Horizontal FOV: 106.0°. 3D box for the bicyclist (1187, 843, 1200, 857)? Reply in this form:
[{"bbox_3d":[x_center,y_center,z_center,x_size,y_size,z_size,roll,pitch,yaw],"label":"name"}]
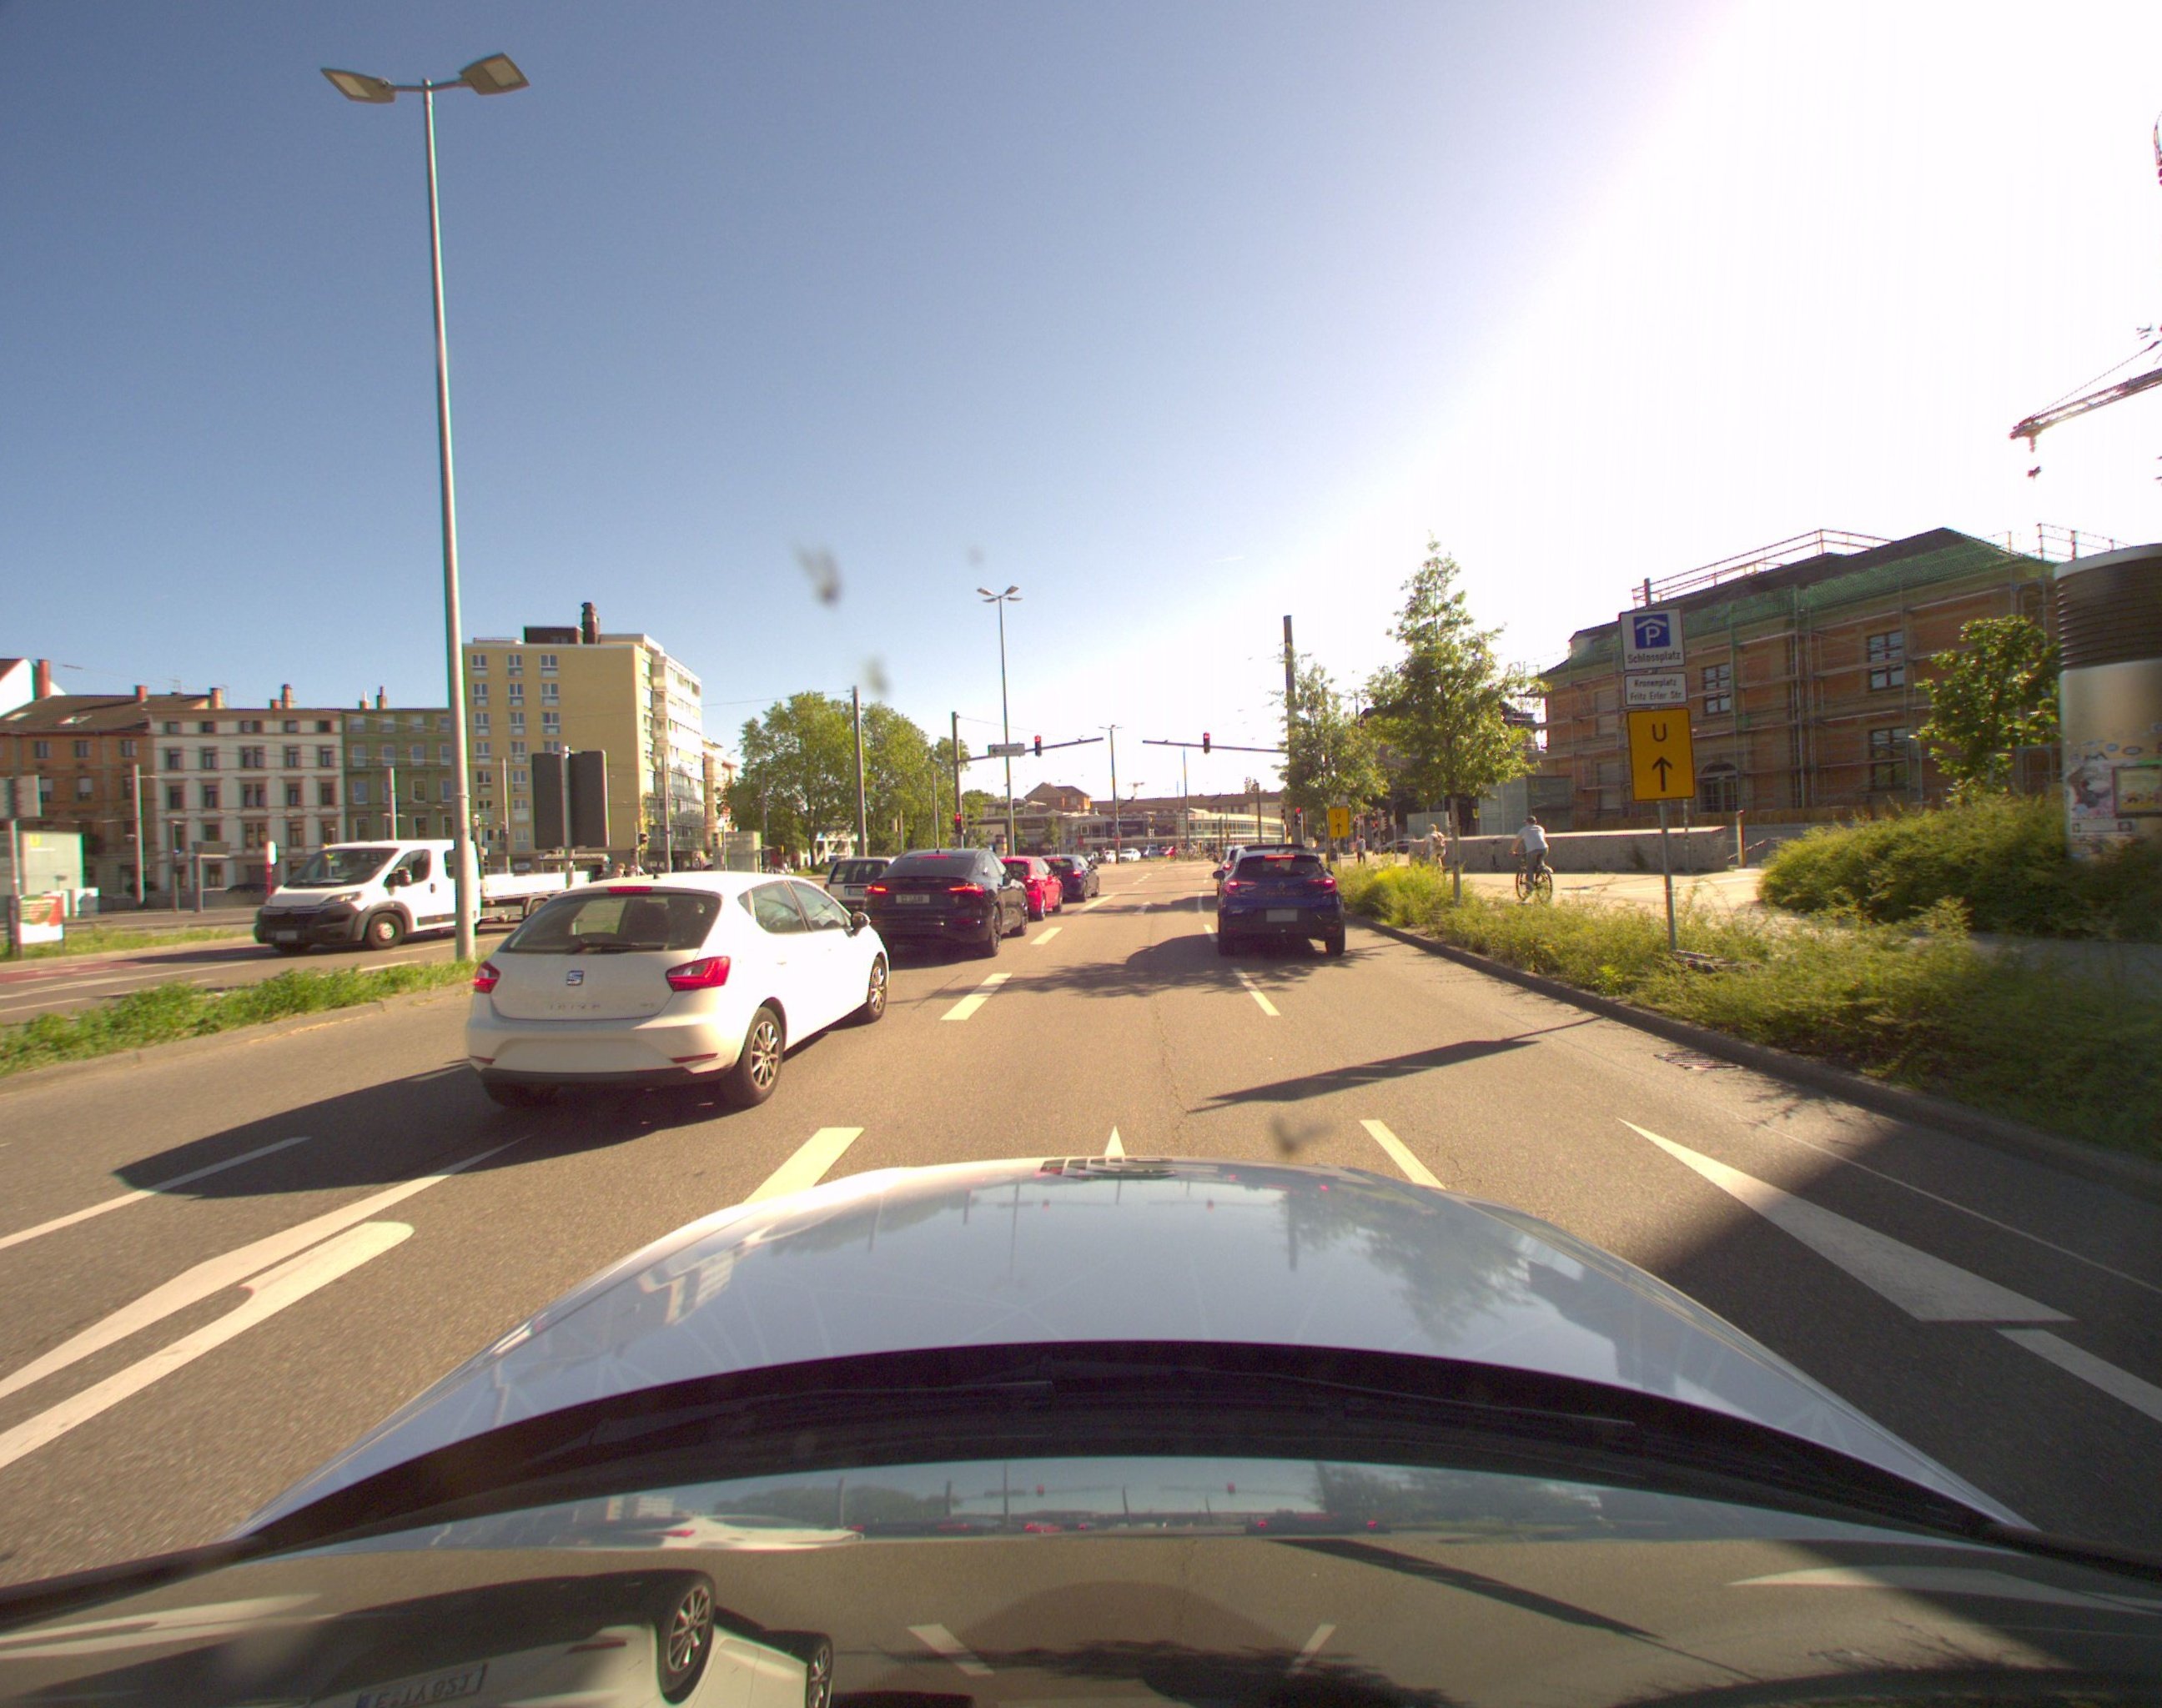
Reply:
[{"bbox_3d":[11.467,-0.409,83.234,0.963,1.449,0.964,-2,0,-13],"label":"bicyclist"}]

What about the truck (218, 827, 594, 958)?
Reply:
[{"bbox_3d":[-14.364,0.700,18.268,2.204,2.313,6.893,-2,0,5],"label":"truck"}]

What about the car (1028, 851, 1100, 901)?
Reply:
[{"bbox_3d":[-0.467,0.641,25.919,1.715,1.442,3.807,0,0,8],"label":"car"}]

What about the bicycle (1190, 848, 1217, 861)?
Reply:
[{"bbox_3d":[12.888,0.067,85.569,2.647,1.188,0.944,-2,2,-11],"label":"bicycle"}]

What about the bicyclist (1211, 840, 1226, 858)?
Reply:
[{"bbox_3d":[13.919,-0.507,82.310,1.187,1.776,0.942,-2,2,-18],"label":"bicyclist"}]

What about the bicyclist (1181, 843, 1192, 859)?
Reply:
[{"bbox_3d":[10.898,-0.309,84.417,0.983,1.604,0.758,-2,0,-3],"label":"bicyclist"}]

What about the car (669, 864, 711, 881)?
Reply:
[{"bbox_3d":[-38.947,1.815,81.158,3.435,1.510,1.685,-2,0,-13],"label":"car"}]

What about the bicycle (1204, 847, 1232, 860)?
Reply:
[{"bbox_3d":[13.873,-0.025,82.301,2.654,1.188,0.942,-2,2,-18],"label":"bicycle"}]

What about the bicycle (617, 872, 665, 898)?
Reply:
[{"bbox_3d":[-20.735,1.446,38.391,1.941,1.165,0.644,-2,0,5],"label":"bicycle"}]

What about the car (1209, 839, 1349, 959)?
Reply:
[{"bbox_3d":[3.081,0.598,13.011,1.864,1.617,3.810,0,0,12],"label":"car"}]

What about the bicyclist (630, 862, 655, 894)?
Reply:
[{"bbox_3d":[-20.682,1.130,38.390,0.770,1.444,0.644,-2,0,5],"label":"bicyclist"}]

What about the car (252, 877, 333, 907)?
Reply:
[{"bbox_3d":[-61.546,2.931,63.658,3.986,2.013,1.994,-2,2,-9],"label":"car"}]

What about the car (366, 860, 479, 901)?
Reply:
[{"bbox_3d":[-43.790,1.725,54.320,5.488,2.411,1.993,-2,0,-11],"label":"car"}]

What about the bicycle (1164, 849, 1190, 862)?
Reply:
[{"bbox_3d":[10.197,0.140,86.466,2.647,1.188,0.944,-2,2,-11],"label":"bicycle"}]

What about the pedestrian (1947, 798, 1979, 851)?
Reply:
[{"bbox_3d":[29.963,-0.996,27.677,0.531,1.752,0.794,0,2,30],"label":"pedestrian"}]

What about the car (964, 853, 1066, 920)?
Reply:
[{"bbox_3d":[-1.462,0.697,19.472,1.662,1.442,3.730,0,0,8],"label":"car"}]

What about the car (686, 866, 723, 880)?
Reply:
[{"bbox_3d":[-39.587,1.980,85.621,3.266,1.316,1.519,-2,2,-14],"label":"car"}]

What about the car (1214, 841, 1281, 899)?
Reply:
[{"bbox_3d":[5.016,0.456,24.858,1.865,1.617,3.635,-1,0,9],"label":"car"}]

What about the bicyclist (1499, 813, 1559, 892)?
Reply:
[{"bbox_3d":[9.575,-0.036,17.444,0.717,1.617,0.978,-2,0,3],"label":"bicyclist"}]

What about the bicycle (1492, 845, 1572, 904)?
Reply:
[{"bbox_3d":[9.582,0.403,17.381,0.713,1.165,1.872,-2,0,3],"label":"bicycle"}]

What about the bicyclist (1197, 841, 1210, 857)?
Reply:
[{"bbox_3d":[12.901,-0.529,85.537,1.063,1.584,0.944,-2,2,-10],"label":"bicyclist"}]

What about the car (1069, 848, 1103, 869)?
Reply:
[{"bbox_3d":[0.566,0.476,87.919,1.975,2.013,4.024,0,2,26],"label":"car"}]

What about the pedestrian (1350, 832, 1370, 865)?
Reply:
[{"bbox_3d":[15.089,-0.287,44.051,0.875,1.723,0.589,1,-3,-40],"label":"pedestrian"}]

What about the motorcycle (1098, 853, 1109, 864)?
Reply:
[{"bbox_3d":[2.367,0.512,87.082,0.557,1.094,1.845,-2,0,21],"label":"motorcycle"}]

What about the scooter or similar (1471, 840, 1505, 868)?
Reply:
[{"bbox_3d":[15.842,-0.012,31.701,0.468,1.012,1.244,-2,2,-14],"label":"scooter or similar"}]

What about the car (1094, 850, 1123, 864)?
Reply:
[{"bbox_3d":[3.222,0.316,94.073,1.709,1.442,4.209,-2,0,25],"label":"car"}]

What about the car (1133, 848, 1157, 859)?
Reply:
[{"bbox_3d":[8.317,-0.065,105.494,1.709,1.442,4.208,0,0,25],"label":"car"}]

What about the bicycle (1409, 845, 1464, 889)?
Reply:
[{"bbox_3d":[9.958,0.341,22.905,0.743,1.165,1.871,-2,0,2],"label":"bicycle"}]

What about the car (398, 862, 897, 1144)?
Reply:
[{"bbox_3d":[-2.733,0.811,6.201,1.685,1.436,3.738,-1,0,2],"label":"car"}]

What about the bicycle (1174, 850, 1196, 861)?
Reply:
[{"bbox_3d":[10.775,0.185,84.416,2.173,1.095,0.758,-2,0,-4],"label":"bicycle"}]

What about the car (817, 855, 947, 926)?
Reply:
[{"bbox_3d":[-4.513,0.773,19.090,1.716,1.442,3.805,-2,0,6],"label":"car"}]

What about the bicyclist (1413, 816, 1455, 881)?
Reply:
[{"bbox_3d":[9.934,-0.147,22.923,0.717,1.762,0.978,-2,0,2],"label":"bicyclist"}]

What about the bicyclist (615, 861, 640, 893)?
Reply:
[{"bbox_3d":[-20.859,1.053,37.468,0.770,1.444,0.644,-2,0,6],"label":"bicyclist"}]

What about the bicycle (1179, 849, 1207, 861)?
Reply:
[{"bbox_3d":[11.454,0.107,83.212,2.646,1.095,0.964,-2,0,-13],"label":"bicycle"}]

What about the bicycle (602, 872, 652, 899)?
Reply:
[{"bbox_3d":[-20.884,1.461,37.466,1.941,1.165,0.644,-2,0,5],"label":"bicycle"}]

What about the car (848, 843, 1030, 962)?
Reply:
[{"bbox_3d":[-2.097,0.663,13.405,1.975,1.624,4.382,-1,0,3],"label":"car"}]

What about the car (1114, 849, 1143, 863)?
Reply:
[{"bbox_3d":[5.334,0.241,91.429,1.709,1.442,4.209,-2,0,25],"label":"car"}]

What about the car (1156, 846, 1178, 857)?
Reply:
[{"bbox_3d":[11.907,-0.394,112.050,1.709,1.442,4.208,0,0,25],"label":"car"}]

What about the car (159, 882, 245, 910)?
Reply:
[{"bbox_3d":[-67.248,3.191,62.353,3.986,1.771,1.994,-2,2,-9],"label":"car"}]

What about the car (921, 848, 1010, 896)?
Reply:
[{"bbox_3d":[-3.733,0.538,27.014,1.714,1.442,3.922,0,0,11],"label":"car"}]

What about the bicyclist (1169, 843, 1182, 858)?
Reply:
[{"bbox_3d":[10.010,-0.398,86.413,1.063,1.584,0.944,-2,2,-10],"label":"bicyclist"}]

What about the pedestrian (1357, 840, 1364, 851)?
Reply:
[{"bbox_3d":[34.878,-1.049,101.654,0.596,1.409,0.800,-1,2,1],"label":"pedestrian"}]

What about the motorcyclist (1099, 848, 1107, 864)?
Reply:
[{"bbox_3d":[2.359,0.226,87.078,0.545,1.621,0.748,-2,0,21],"label":"motorcyclist"}]

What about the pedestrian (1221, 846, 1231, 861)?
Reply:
[{"bbox_3d":[15.862,-0.102,89.021,0.856,1.610,0.696,-3,3,-37],"label":"pedestrian"}]
